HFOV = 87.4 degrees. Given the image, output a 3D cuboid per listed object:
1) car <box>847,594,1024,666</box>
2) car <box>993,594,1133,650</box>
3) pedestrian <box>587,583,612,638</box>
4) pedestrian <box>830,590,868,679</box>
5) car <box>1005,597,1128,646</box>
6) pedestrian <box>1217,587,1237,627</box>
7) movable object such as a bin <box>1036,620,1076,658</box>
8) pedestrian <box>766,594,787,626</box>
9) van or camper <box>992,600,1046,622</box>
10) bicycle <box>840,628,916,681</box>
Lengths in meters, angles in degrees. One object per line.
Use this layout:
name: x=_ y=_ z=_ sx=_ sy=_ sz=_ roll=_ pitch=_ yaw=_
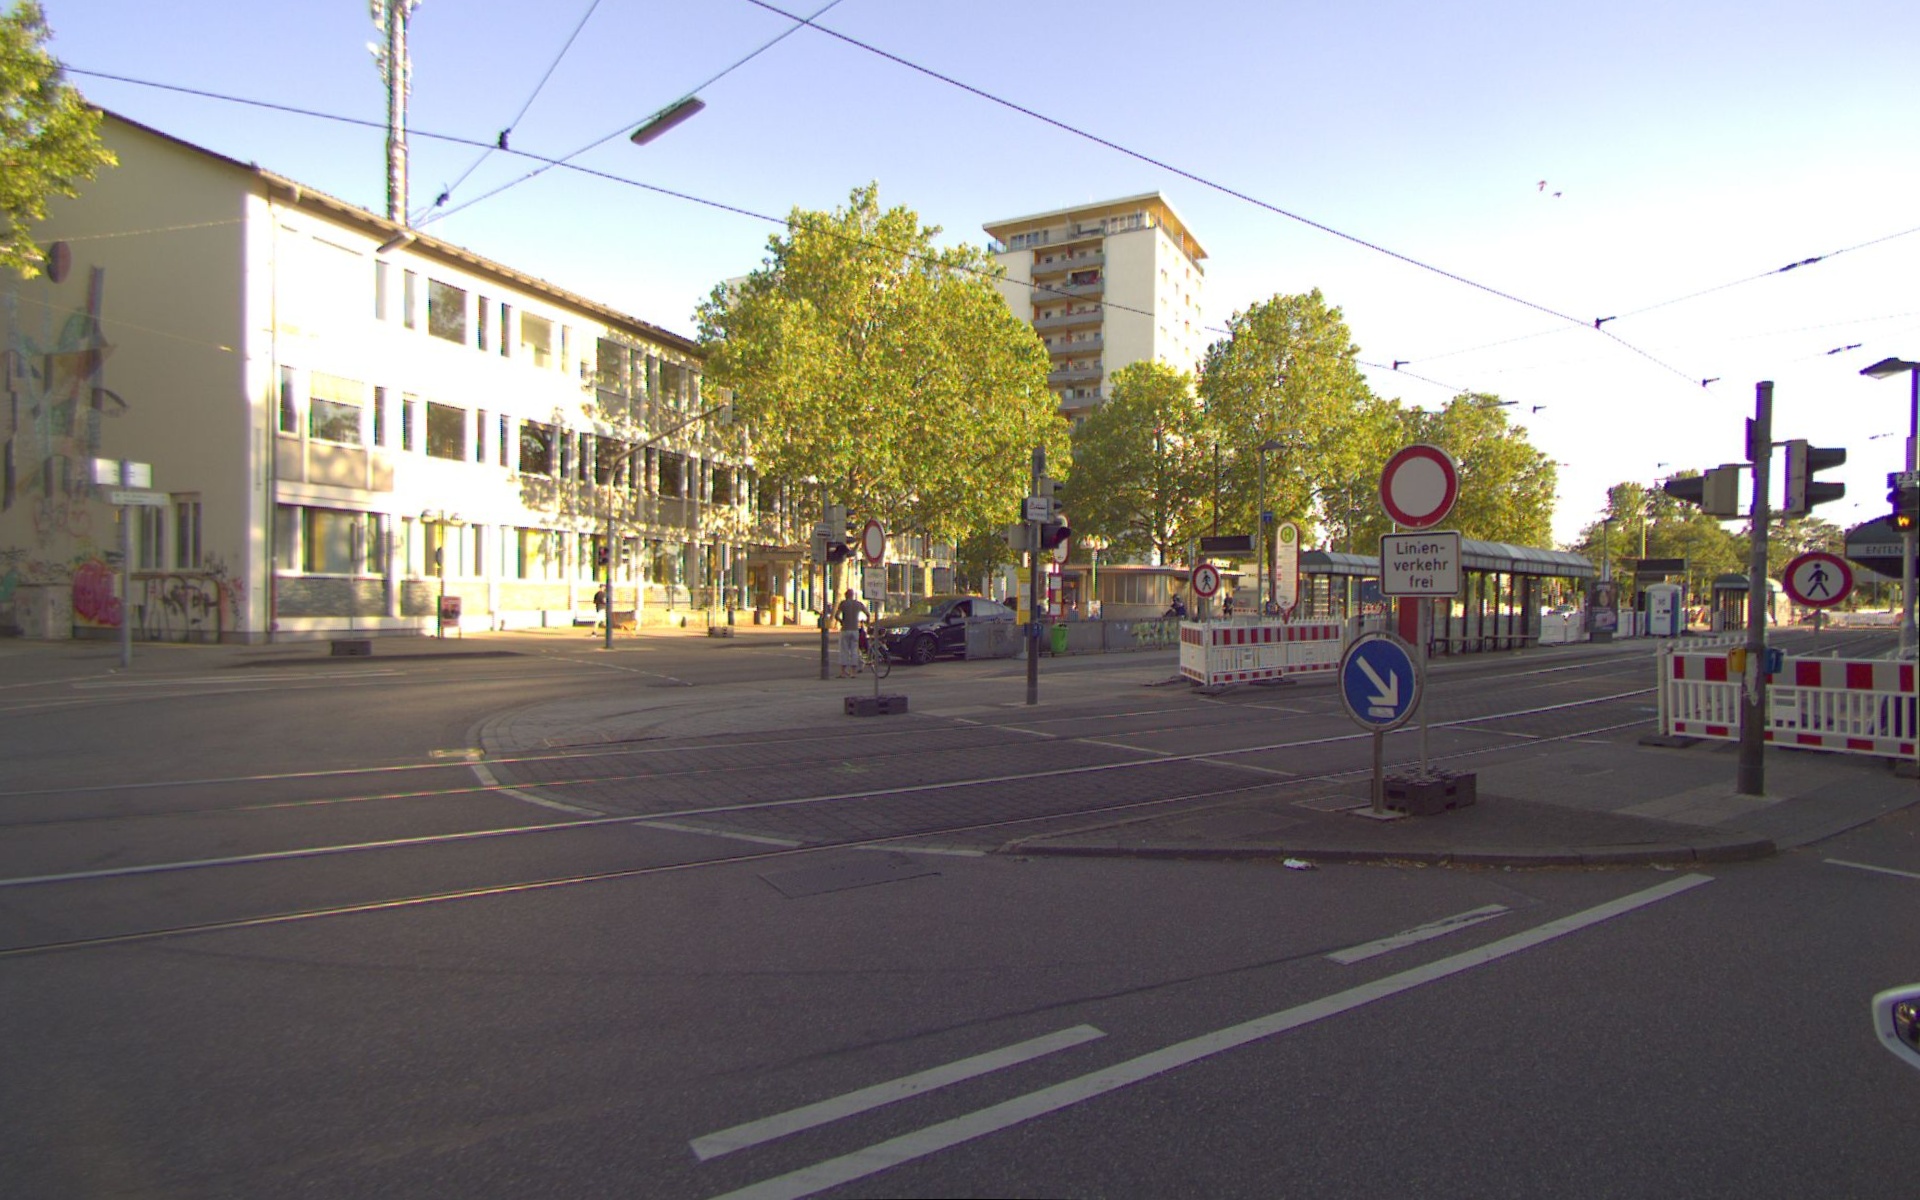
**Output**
car: x=-0.542 y=0.695 z=24.856 sx=4.175 sy=1.606 sz=1.869 roll=1 pitch=0 yaw=-42
car: x=3.140 y=0.635 z=30.118 sx=4.175 sy=1.551 sz=1.869 roll=1 pitch=0 yaw=-42
pedestrian: x=-11.746 y=0.335 z=32.739 sx=0.664 sy=1.733 sz=0.431 roll=2 pitch=3 yaw=29
pedestrian: x=-2.234 y=0.673 z=20.183 sx=0.396 sy=1.748 sz=0.713 roll=0 pitch=1 yaw=-44
car: x=3.668 y=0.690 z=34.113 sx=4.175 sy=1.551 sz=1.869 roll=1 pitch=0 yaw=-42
pedestrian: x=13.763 y=0.347 z=51.758 sx=0.699 sy=2.040 sz=0.740 roll=1 pitch=1 yaw=39
movable object such as a bin: x=2.370 y=0.950 z=24.780 sx=0.697 sy=0.878 sz=0.665 roll=-1 pitch=3 yaw=-41
pedestrian: x=-8.341 y=0.428 z=45.566 sx=0.663 sy=1.414 sz=0.693 roll=2 pitch=2 yaw=21
van or camper: x=4.393 y=0.806 z=74.504 sx=3.919 sy=1.573 sz=1.830 roll=1 pitch=0 yaw=7
bicycle: x=-1.671 y=1.080 z=20.253 sx=0.460 sy=0.955 sz=1.822 roll=0 pitch=0 yaw=-44
